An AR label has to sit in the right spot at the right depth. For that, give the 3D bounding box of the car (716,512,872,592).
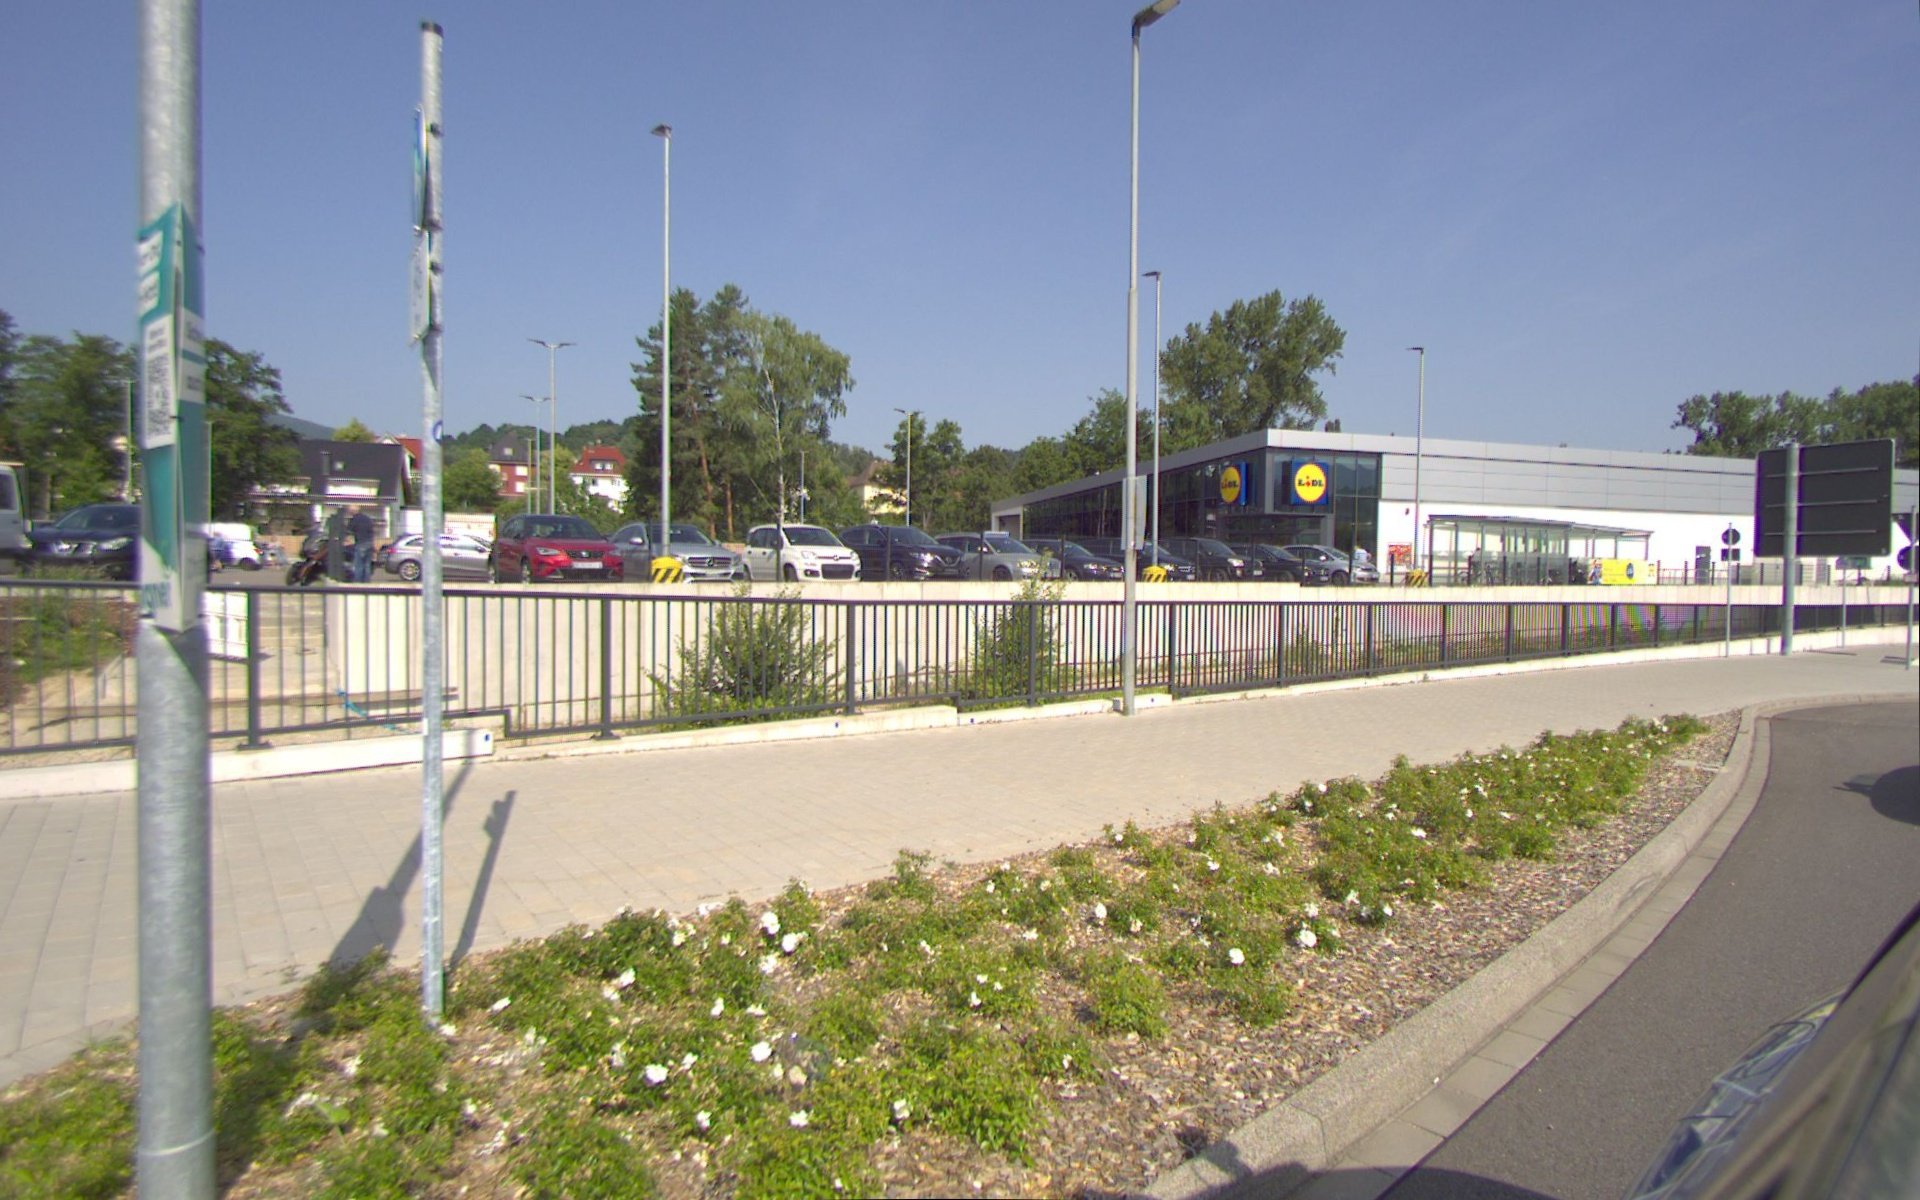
[{"bbox_3d":[-3.802,-0.993,22.674,1.674,1.594,3.994,0,0,-40],"label":"car"}]

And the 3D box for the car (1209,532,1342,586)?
[{"bbox_3d":[10.450,-1.314,33.746,1.674,1.594,3.994,0,0,-40],"label":"car"}]

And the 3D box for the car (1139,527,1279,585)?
[{"bbox_3d":[7.648,-1.300,31.356,1.674,1.594,3.994,0,0,-40],"label":"car"}]

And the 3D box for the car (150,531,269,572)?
[{"bbox_3d":[-31.547,-1.999,42.678,3.708,1.594,1.766,0,0,-23],"label":"car"}]

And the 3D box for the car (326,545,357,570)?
[{"bbox_3d":[-42.880,-2.932,70.164,1.678,1.594,3.791,0,0,-29],"label":"car"}]

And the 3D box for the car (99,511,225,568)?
[{"bbox_3d":[-39.743,-2.978,50.553,4.550,2.650,2.003,0,-1,-24],"label":"car"}]

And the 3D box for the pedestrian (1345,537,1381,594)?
[{"bbox_3d":[14.470,-1.228,36.370,0.845,2.039,0.834,0,-1,-25],"label":"pedestrian"}]

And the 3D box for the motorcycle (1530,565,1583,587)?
[{"bbox_3d":[24.383,-0.974,41.393,1.864,0.875,0.619,-1,-1,33],"label":"motorcycle"}]

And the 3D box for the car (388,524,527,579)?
[{"bbox_3d":[-16.183,-1.516,32.752,3.918,1.638,2.003,0,0,-26],"label":"car"}]

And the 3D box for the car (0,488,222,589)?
[{"bbox_3d":[-15.807,-1.044,19.131,1.794,1.622,4.485,0,0,-20],"label":"car"}]

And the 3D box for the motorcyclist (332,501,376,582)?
[{"bbox_3d":[-11.903,-1.135,19.877,0.510,1.562,0.576,-1,-1,29],"label":"motorcyclist"}]

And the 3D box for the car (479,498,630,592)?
[{"bbox_3d":[-7.968,-0.971,19.672,1.746,1.594,4.019,0,0,-37],"label":"car"}]

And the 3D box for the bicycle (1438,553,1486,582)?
[{"bbox_3d":[19.557,-1.265,39.402,1.839,1.107,0.628,0,-1,-23],"label":"bicycle"}]

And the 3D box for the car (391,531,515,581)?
[{"bbox_3d":[-17.397,-1.487,34.896,3.708,1.594,1.669,0,0,-23],"label":"car"}]

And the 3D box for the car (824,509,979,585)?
[{"bbox_3d":[-1.470,-1.187,24.223,1.674,1.594,3.994,0,0,-40],"label":"car"}]

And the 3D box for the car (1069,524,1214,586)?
[{"bbox_3d":[5.167,-1.221,29.191,1.674,1.594,3.994,0,0,-40],"label":"car"}]

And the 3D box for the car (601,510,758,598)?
[{"bbox_3d":[-5.811,-0.851,20.641,1.746,1.594,4.019,0,0,-37],"label":"car"}]

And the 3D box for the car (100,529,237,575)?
[{"bbox_3d":[-29.775,-1.776,38.201,3.708,1.594,1.766,0,0,-23],"label":"car"}]

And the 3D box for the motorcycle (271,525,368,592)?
[{"bbox_3d":[-12.206,-0.760,19.359,0.580,1.206,1.901,1,0,3],"label":"motorcycle"}]

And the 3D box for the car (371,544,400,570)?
[{"bbox_3d":[-39.760,-2.953,70.065,1.728,1.594,3.791,0,0,-29],"label":"car"}]

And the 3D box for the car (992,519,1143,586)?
[{"bbox_3d":[2.808,-1.209,27.164,1.674,1.594,3.994,0,0,-40],"label":"car"}]

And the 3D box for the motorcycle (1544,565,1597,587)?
[{"bbox_3d":[25.305,-0.979,41.968,1.864,0.875,0.619,-1,-1,33],"label":"motorcycle"}]

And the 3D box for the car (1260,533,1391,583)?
[{"bbox_3d":[12.952,-1.428,36.044,1.674,1.594,4.126,0,0,-40],"label":"car"}]

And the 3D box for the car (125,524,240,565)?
[{"bbox_3d":[-41.538,-2.934,54.214,4.550,2.001,2.003,0,0,-24],"label":"car"}]

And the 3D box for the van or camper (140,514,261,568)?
[{"bbox_3d":[-43.673,-3.364,58.361,5.176,2.884,2.299,0,0,-24],"label":"van or camper"}]

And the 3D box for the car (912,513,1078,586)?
[{"bbox_3d":[0.791,-1.199,25.523,1.674,1.594,4.410,0,0,-40],"label":"car"}]

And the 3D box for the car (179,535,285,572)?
[{"bbox_3d":[-33.821,-2.123,47.134,3.708,1.594,1.766,0,0,-23],"label":"car"}]

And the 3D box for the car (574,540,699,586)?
[{"bbox_3d":[-11.215,-1.258,35.099,3.918,1.476,1.803,0,0,-27],"label":"car"}]

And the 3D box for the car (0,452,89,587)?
[{"bbox_3d":[-18.630,-1.494,18.543,2.017,2.414,6.104,0,0,-20],"label":"car"}]
